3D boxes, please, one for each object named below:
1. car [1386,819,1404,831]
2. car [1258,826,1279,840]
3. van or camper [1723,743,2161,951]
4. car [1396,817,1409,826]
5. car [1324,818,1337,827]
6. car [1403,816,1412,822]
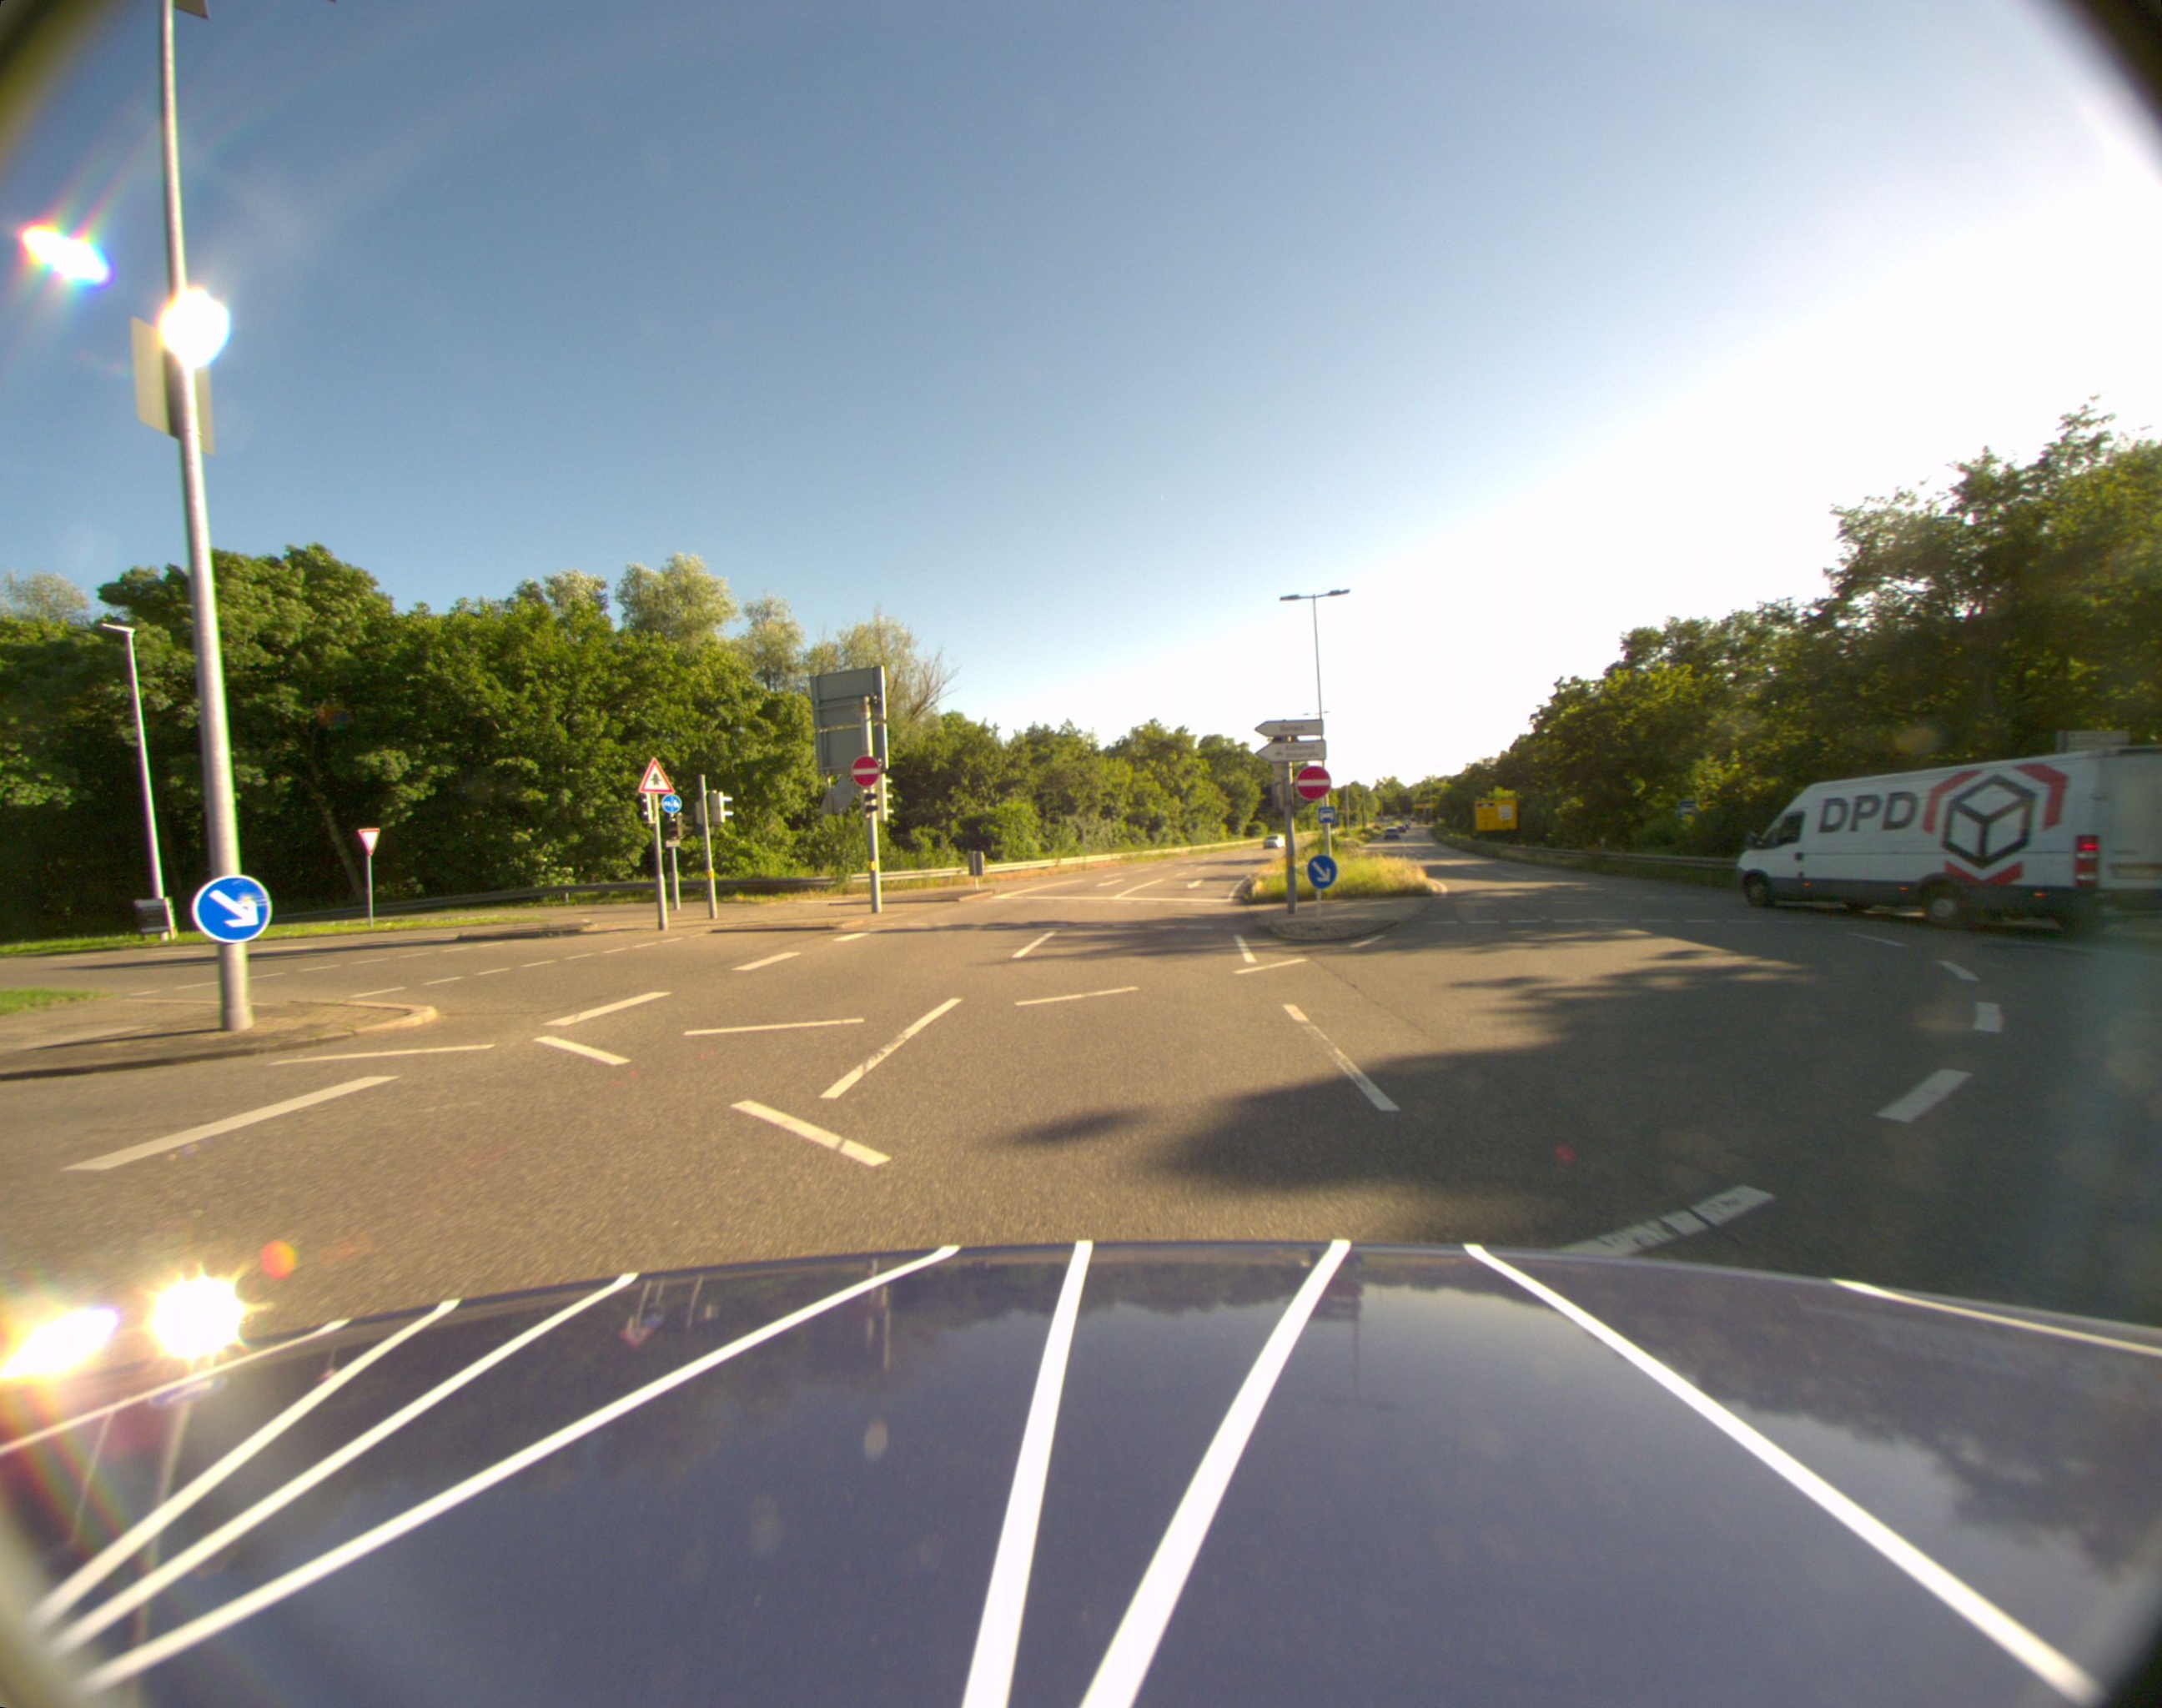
[{"bbox_3d":[40.219,-3.682,97.185,1.887,1.512,4.223,-1,2,25],"label":"car"},{"bbox_3d":[20.086,-2.246,81.337,1.679,1.478,3.394,-1,2,23],"label":"car"},{"bbox_3d":[14.604,-0.158,13.056,2.053,2.658,6.936,1,1,8],"label":"van or camper"},{"bbox_3d":[56.261,-5.718,132.809,1.887,1.412,4.370,1,3,25],"label":"car"},{"bbox_3d":[44.469,-5.599,135.175,1.907,1.478,3.349,-1,2,23],"label":"car"},{"bbox_3d":[76.365,-8.199,177.809,1.807,1.409,4.536,0,3,22],"label":"car"}]
